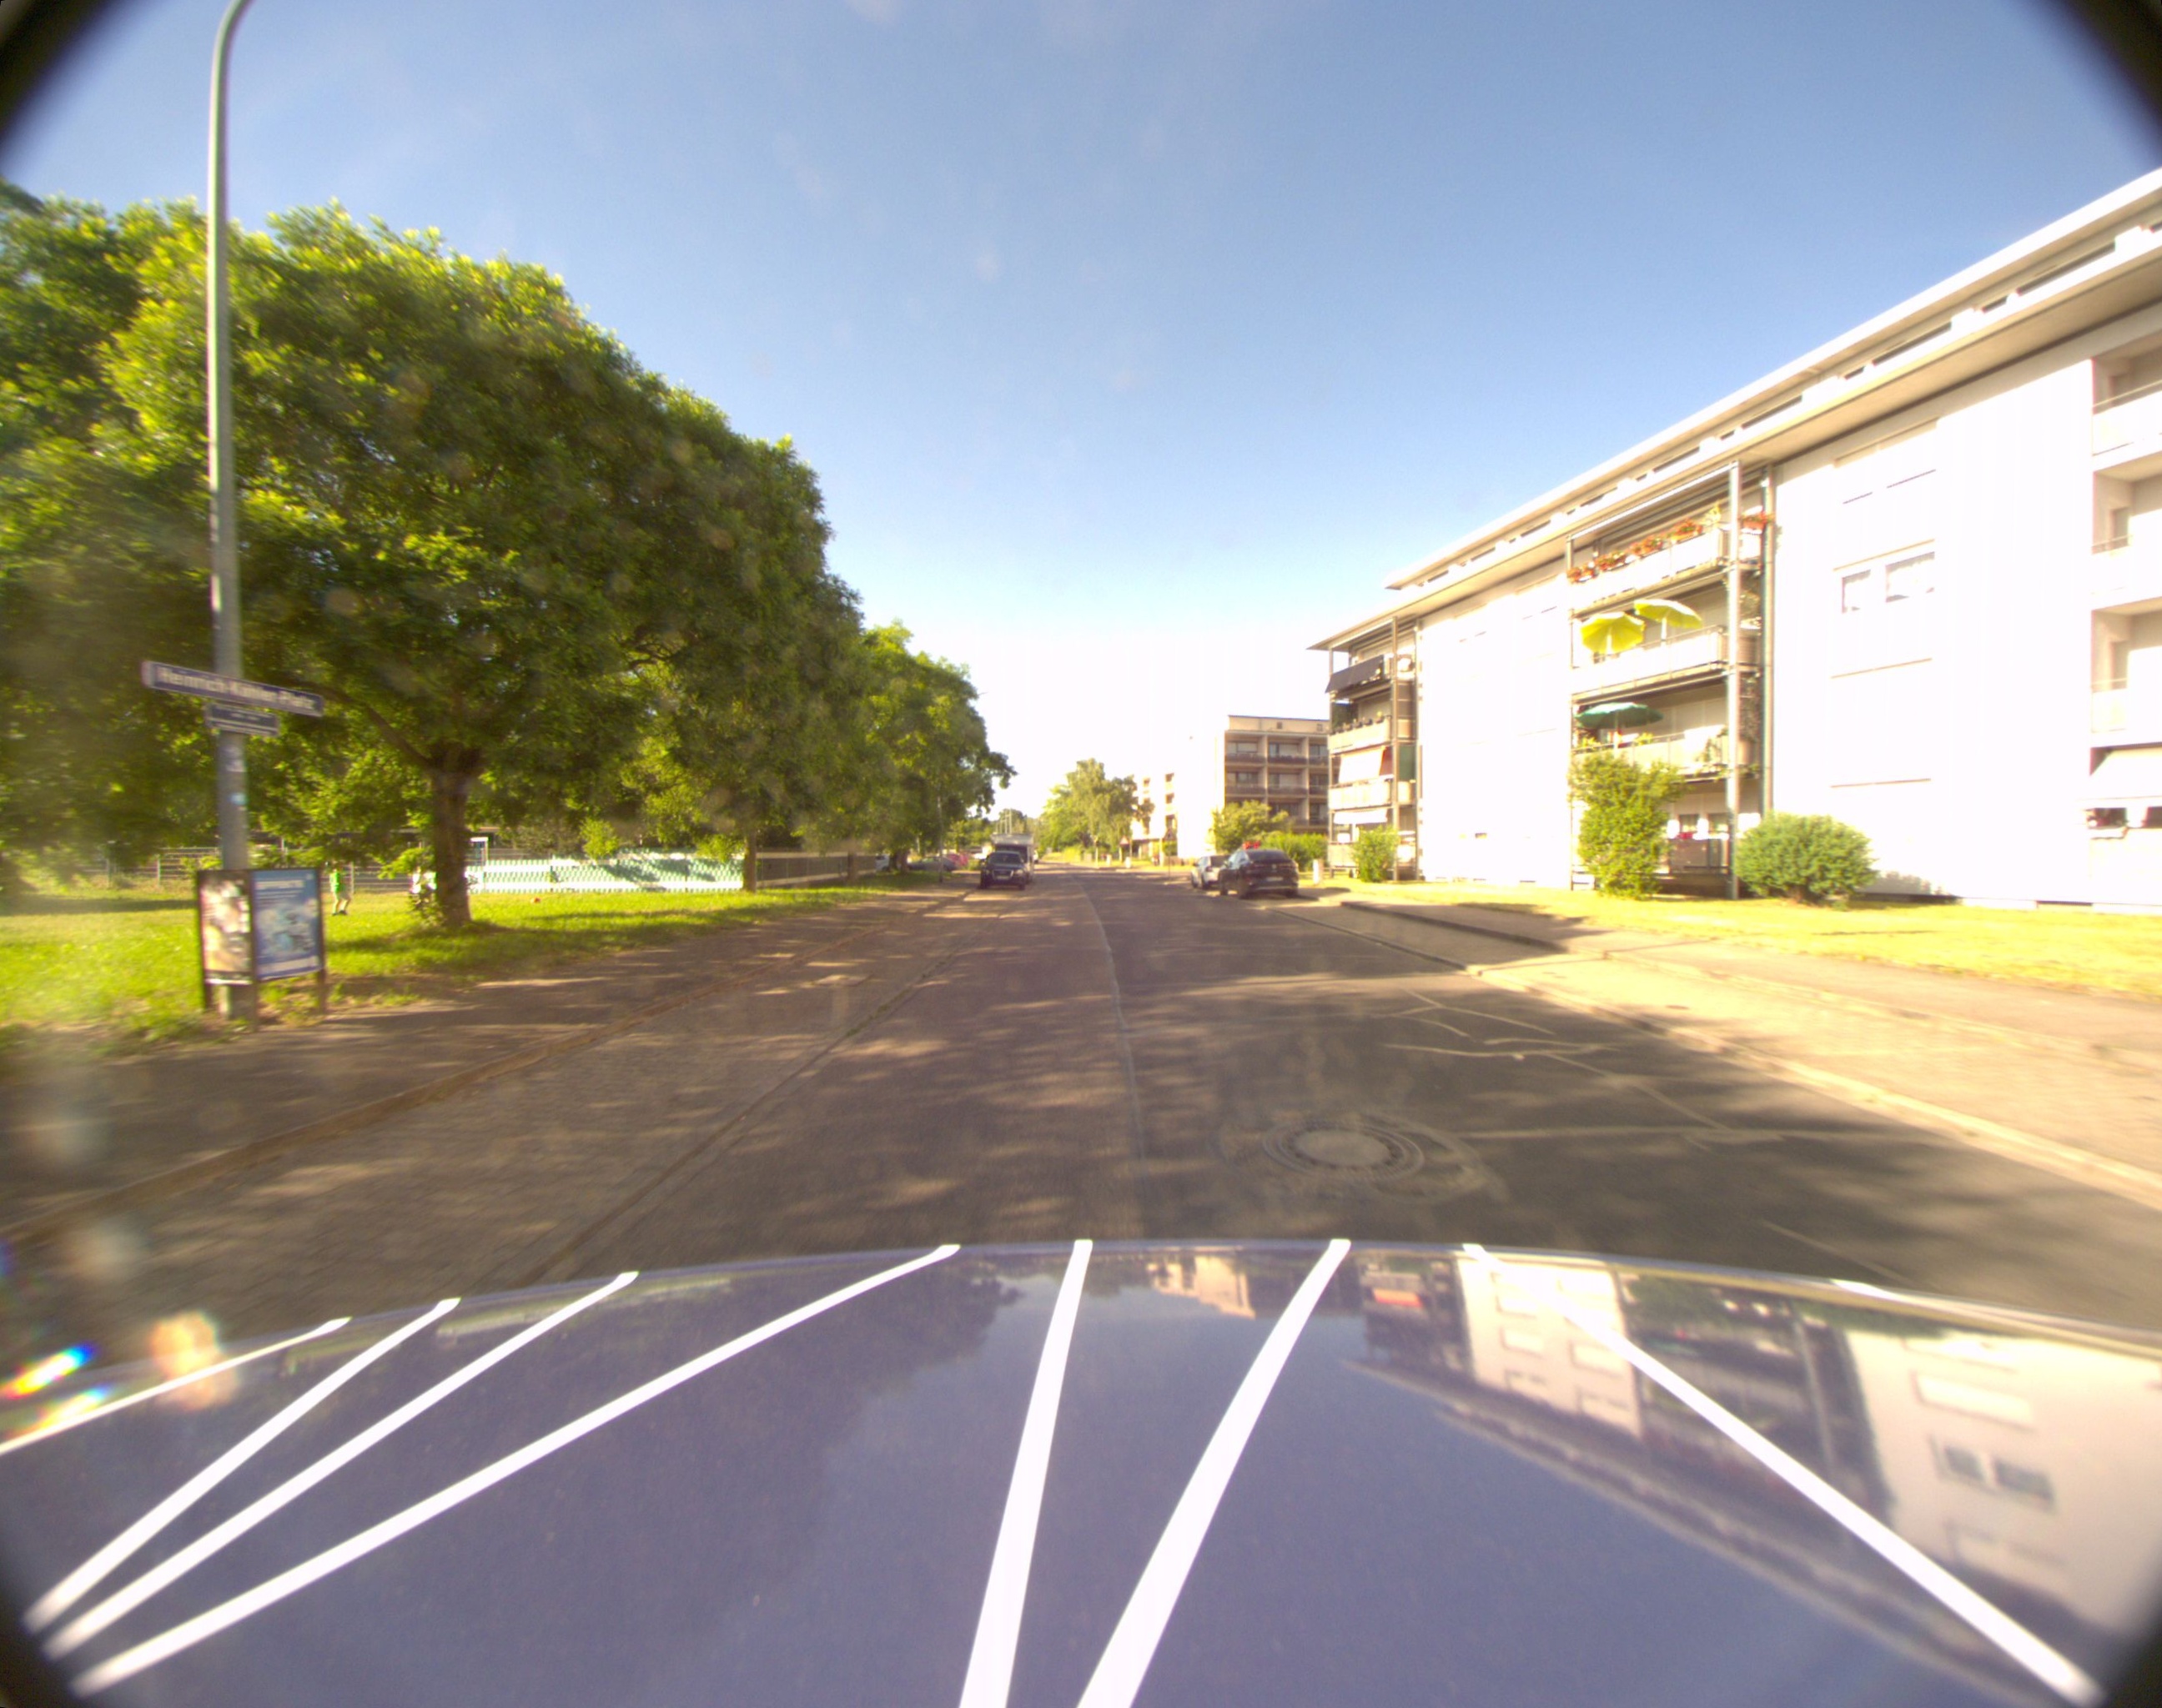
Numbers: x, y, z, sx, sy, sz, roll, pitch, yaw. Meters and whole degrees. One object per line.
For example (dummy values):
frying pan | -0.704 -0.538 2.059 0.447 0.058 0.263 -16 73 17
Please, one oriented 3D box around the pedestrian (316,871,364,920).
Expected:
pedestrian | -16.813 0.932 17.255 0.635 1.082 0.507 1 0 -21

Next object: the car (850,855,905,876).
car | -15.721 0.890 58.668 3.692 1.569 1.829 0 0 4

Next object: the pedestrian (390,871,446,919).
pedestrian | -15.481 0.940 17.770 0.703 1.082 0.723 1 0 -9

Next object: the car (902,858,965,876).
car | -11.309 1.004 58.477 4.436 1.329 1.746 -1 -1 1

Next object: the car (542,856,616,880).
car | -35.434 0.974 53.723 3.876 1.602 2.000 0 0 -2

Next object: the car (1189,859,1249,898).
car | 5.688 0.984 31.797 1.651 1.458 4.330 -1 0 -1

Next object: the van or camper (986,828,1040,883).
van or camper | -3.498 0.086 40.413 2.358 2.581 6.424 3 0 -2

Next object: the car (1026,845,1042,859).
car | -6.580 -0.269 105.489 1.921 1.861 4.862 -2 0 -7

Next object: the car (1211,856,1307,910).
car | 5.823 0.902 25.512 1.919 1.594 4.810 0 0 -3

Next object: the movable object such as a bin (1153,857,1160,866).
movable object such as a bin | 8.098 0.802 81.494 0.565 1.047 0.556 0 1 -26

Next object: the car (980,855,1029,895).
car | -3.308 0.869 33.631 1.999 1.631 4.535 1 0 -4

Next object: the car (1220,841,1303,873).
car | 14.063 0.282 59.395 5.922 2.414 2.213 0 -1 -4
